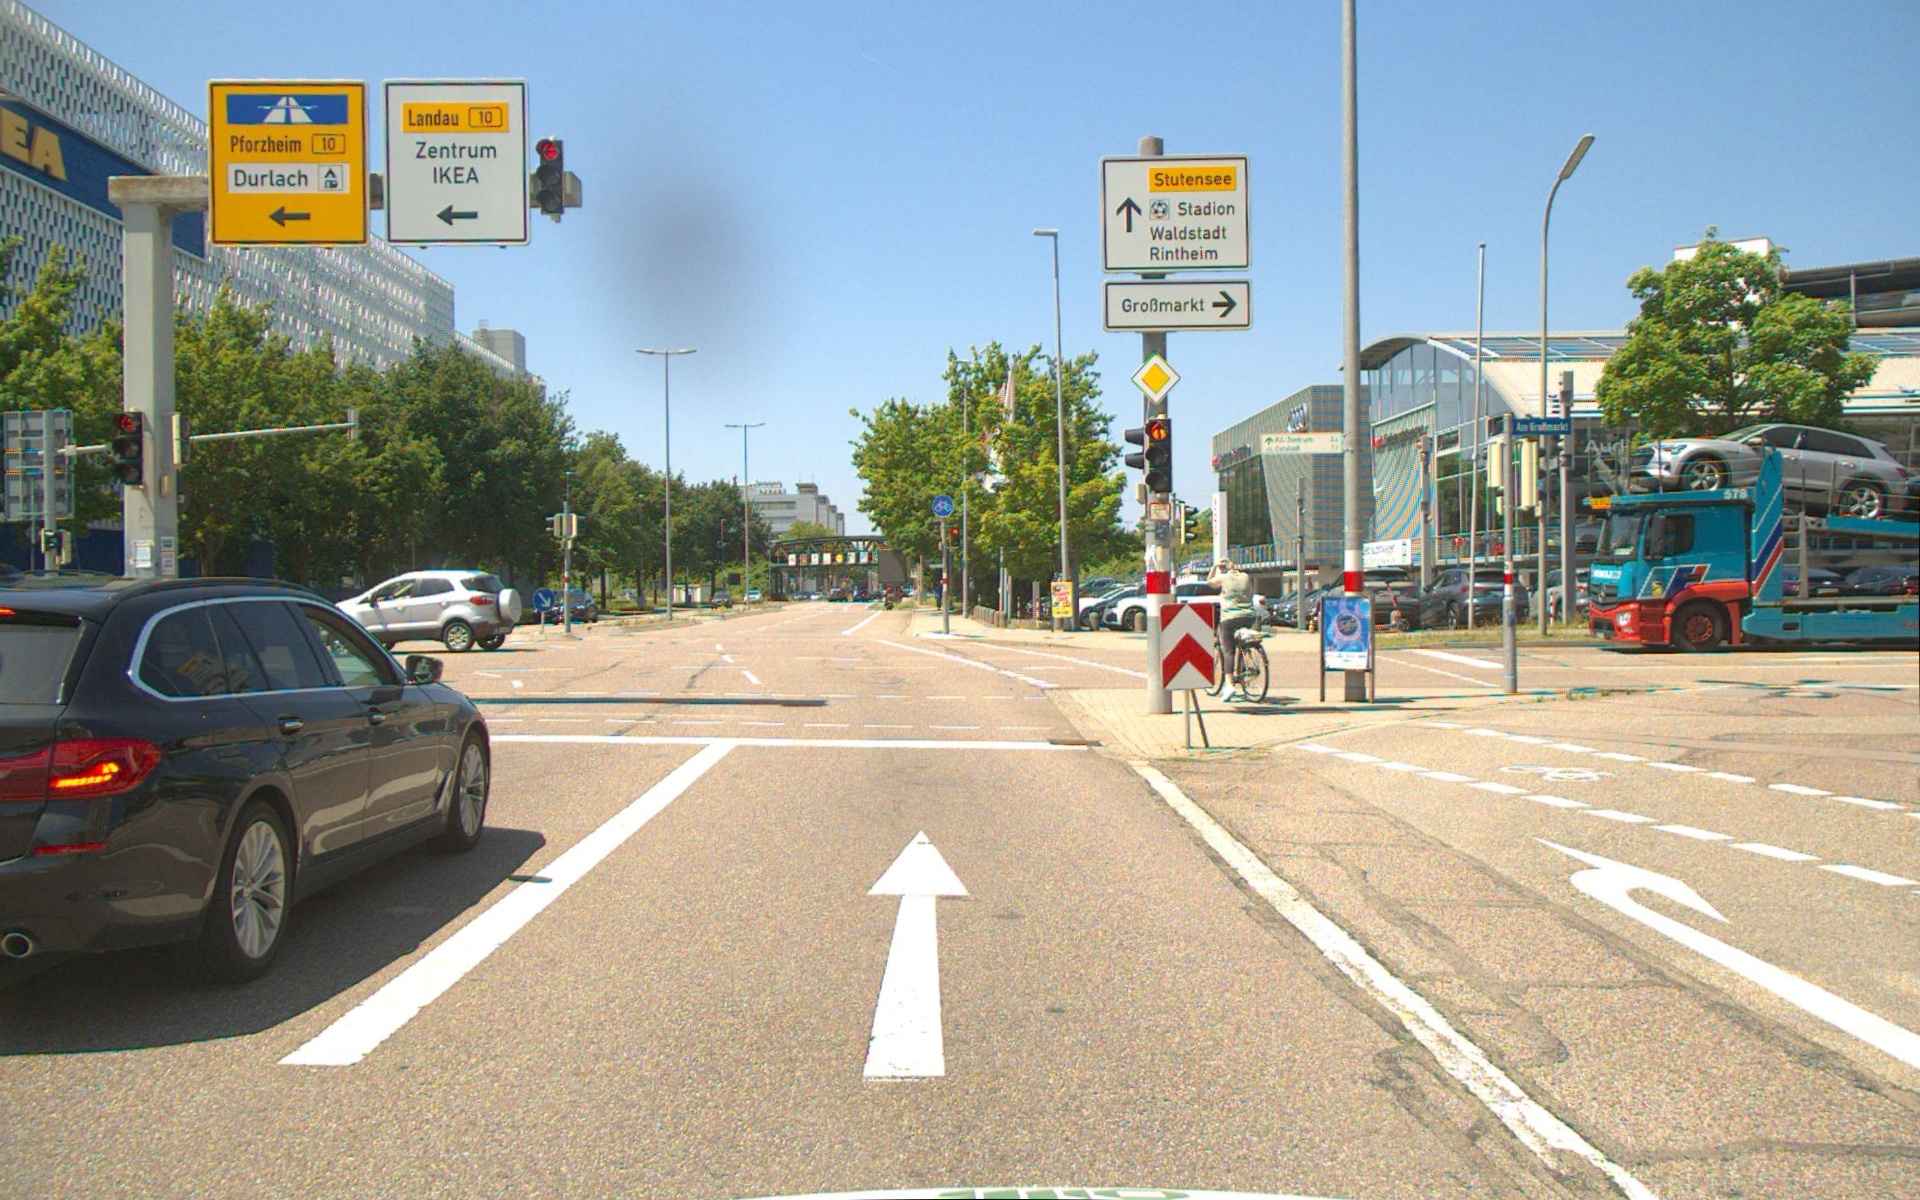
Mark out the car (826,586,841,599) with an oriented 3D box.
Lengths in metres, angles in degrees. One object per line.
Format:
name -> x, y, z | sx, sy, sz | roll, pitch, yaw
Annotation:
car -> -17.228, -1.006, 225.409 | 1.736, 1.758, 3.998 | -1, 0, -2

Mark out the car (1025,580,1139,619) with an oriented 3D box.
car -> 5.249, -0.039, 71.416 | 4.647, 1.482, 1.999 | -2, 1, -4

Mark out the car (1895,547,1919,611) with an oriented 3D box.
car -> 26.153, -0.544, 42.350 | 1.791, 1.668, 4.473 | -1, 1, -2

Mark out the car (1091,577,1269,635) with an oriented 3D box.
car -> 6.040, 0.149, 45.822 | 4.644, 1.482, 2.000 | -1, 1, 0

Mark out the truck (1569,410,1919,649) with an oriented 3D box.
truck -> 17.126, -1.321, 30.797 | 10.394, 4.153, 3.102 | -1, 1, 4

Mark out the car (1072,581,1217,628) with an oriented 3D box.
car -> 6.256, 0.121, 56.527 | 4.647, 1.482, 1.999 | -1, 1, -4

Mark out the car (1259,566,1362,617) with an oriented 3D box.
car -> 14.744, -0.372, 69.697 | 3.906, 2.049, 2.000 | -1, 0, -1

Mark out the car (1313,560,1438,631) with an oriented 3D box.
car -> 10.383, -0.147, 41.626 | 1.953, 1.668, 4.267 | -1, 1, -2

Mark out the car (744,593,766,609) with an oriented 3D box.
car -> -22.940, 0.100, 185.220 | 1.887, 1.694, 4.089 | -1, 0, 1

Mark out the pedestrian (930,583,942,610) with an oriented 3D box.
pedestrian -> -1.357, -0.203, 95.247 | 0.654, 1.537, 0.736 | -1, 0, -2

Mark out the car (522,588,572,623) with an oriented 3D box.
car -> -25.028, 0.340, 100.377 | 1.953, 2.043, 4.763 | -1, 0, -2

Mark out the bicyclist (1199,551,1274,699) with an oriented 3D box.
bicyclist -> 3.384, 0.296, 20.296 | 0.719, 1.779, 0.753 | 0, 1, -6

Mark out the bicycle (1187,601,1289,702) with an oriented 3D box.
bicycle -> 3.401, 0.609, 20.400 | 0.771, 1.147, 1.919 | 0, 1, -5

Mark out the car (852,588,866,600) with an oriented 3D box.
car -> -14.179, -0.841, 232.517 | 1.736, 1.758, 3.998 | -1, 0, -2

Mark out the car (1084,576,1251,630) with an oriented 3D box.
car -> 6.023, 0.089, 48.413 | 4.644, 1.482, 2.000 | -1, 0, 0

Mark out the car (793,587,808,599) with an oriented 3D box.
car -> -21.297, -0.911, 220.612 | 1.697, 1.452, 3.704 | -3, 0, -2

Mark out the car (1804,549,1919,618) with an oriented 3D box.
car -> 23.760, -0.448, 42.397 | 1.791, 1.668, 4.472 | -1, 1, -3

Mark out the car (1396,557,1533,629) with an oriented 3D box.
car -> 12.696, -0.215, 41.910 | 1.953, 1.668, 4.556 | -1, 1, -2

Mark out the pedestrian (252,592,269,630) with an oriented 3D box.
pedestrian -> -28.410, 0.438, 67.164 | 0.452, 1.508, 0.484 | -1, 0, 2

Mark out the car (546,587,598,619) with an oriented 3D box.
car -> -20.565, 0.137, 87.793 | 1.837, 1.626, 4.494 | -1, 0, -2

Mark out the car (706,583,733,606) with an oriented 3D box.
car -> -23.195, -0.537, 159.695 | 1.952, 2.049, 4.000 | -1, -1, 2

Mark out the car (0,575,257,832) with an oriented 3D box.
car -> -6.489, 0.591, 11.689 | 1.764, 1.520, 3.994 | 0, 1, -7

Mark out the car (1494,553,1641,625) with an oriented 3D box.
car -> 15.274, -0.309, 41.824 | 1.953, 1.668, 4.440 | -1, 1, -2

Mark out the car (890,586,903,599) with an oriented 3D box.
car -> -8.872, -0.985, 231.968 | 1.736, 1.758, 3.998 | -1, 0, -2

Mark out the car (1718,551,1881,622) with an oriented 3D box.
car -> 21.394, -0.370, 42.378 | 1.791, 1.668, 4.473 | -1, 1, -2

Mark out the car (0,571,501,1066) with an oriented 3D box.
car -> -3.449, 0.620, 7.260 | 1.764, 1.491, 4.621 | 0, 1, -3

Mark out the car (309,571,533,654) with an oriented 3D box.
car -> -11.254, 0.260, 34.635 | 4.105, 1.681, 1.716 | 0, 0, 9
